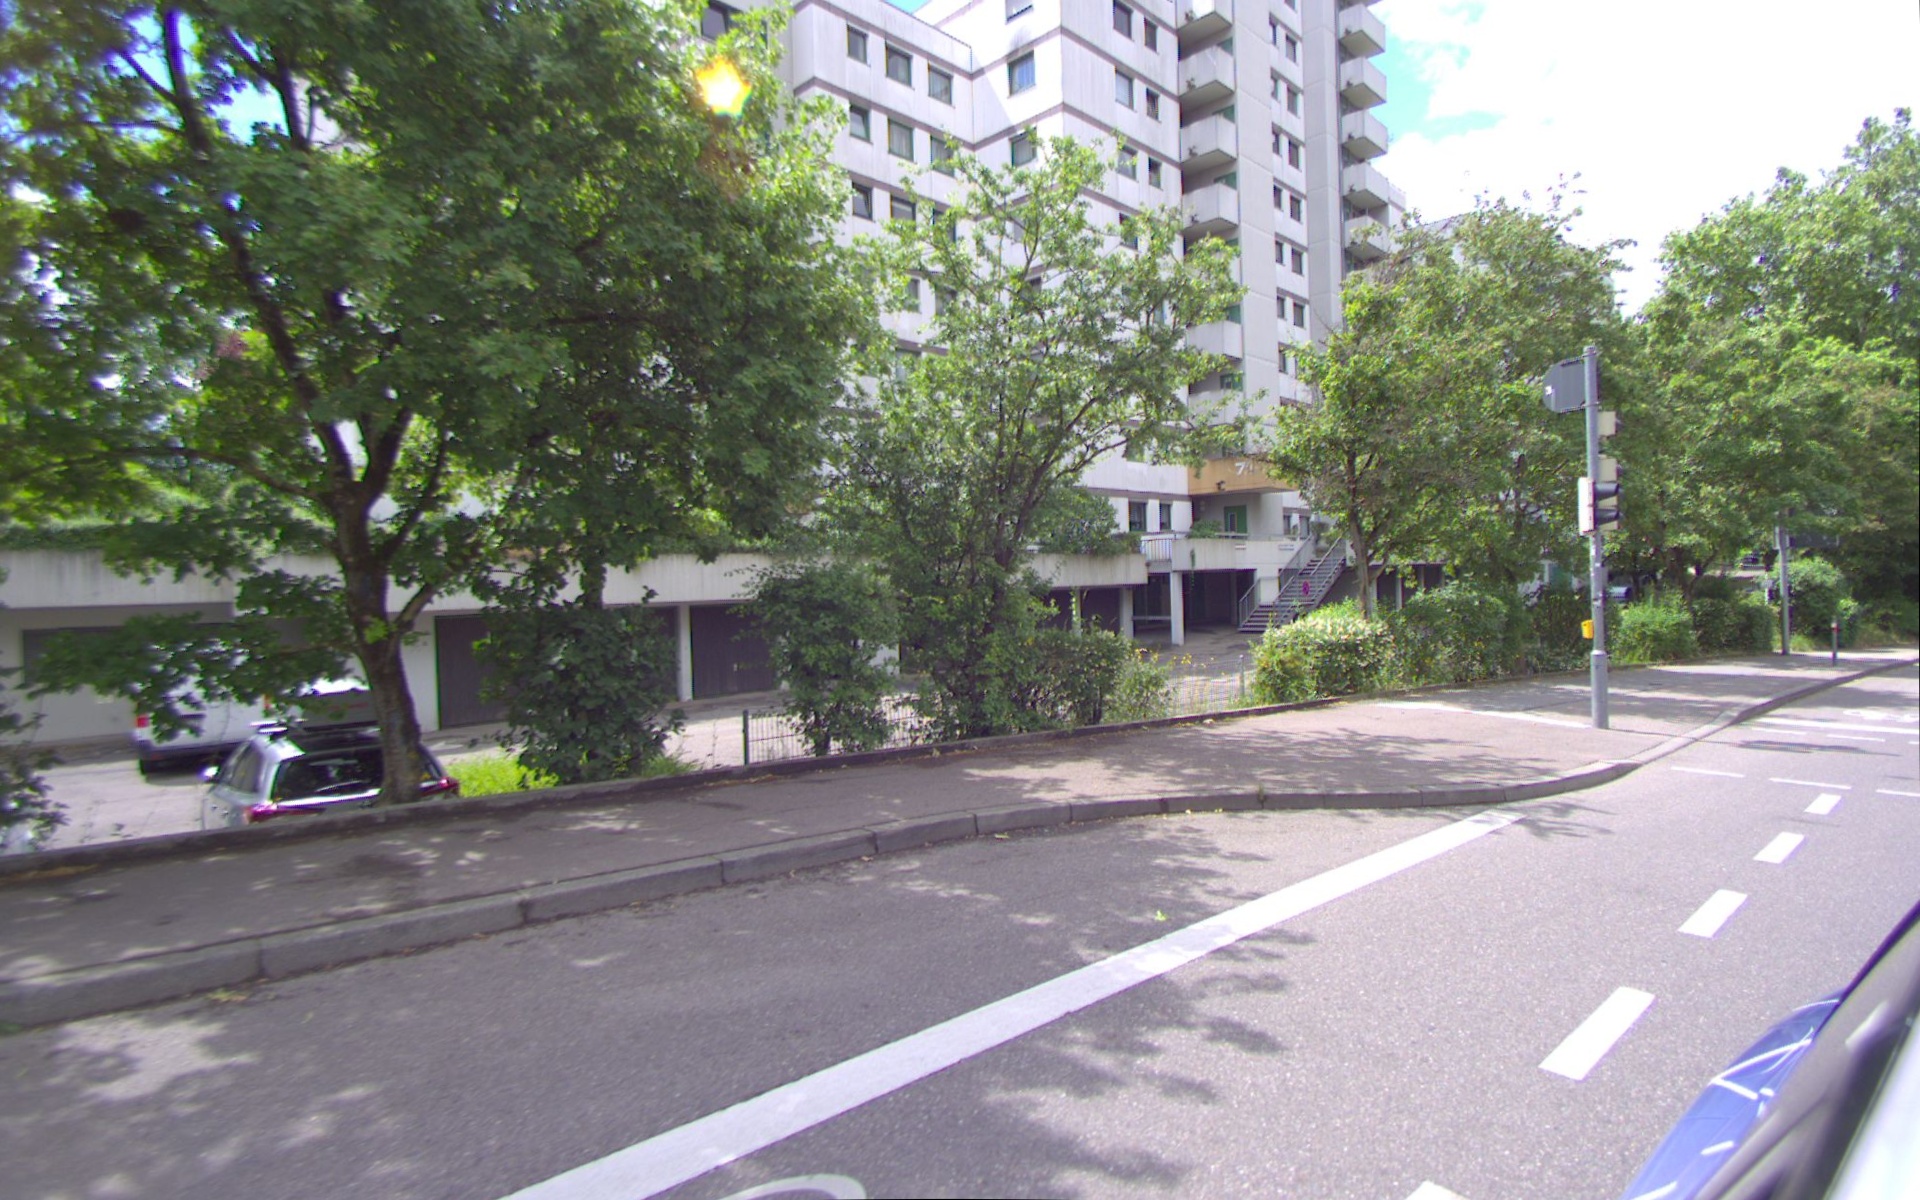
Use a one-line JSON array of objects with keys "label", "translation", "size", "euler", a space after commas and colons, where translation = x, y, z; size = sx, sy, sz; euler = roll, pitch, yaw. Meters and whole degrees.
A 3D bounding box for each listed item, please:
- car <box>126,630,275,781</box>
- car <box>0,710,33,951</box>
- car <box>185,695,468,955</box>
[{"label": "car", "translation": [-12.810, 1.628, 17.100], "size": [1.759, 1.915, 3.998], "euler": [-3, 3, -37]}, {"label": "car", "translation": [-8.398, 1.775, 7.865], "size": [1.694, 1.489, 2.960], "euler": [0, -1, -42]}, {"label": "car", "translation": [-5.862, 1.793, 9.163], "size": [1.538, 1.450, 3.758], "euler": [-3, 1, -42]}]
